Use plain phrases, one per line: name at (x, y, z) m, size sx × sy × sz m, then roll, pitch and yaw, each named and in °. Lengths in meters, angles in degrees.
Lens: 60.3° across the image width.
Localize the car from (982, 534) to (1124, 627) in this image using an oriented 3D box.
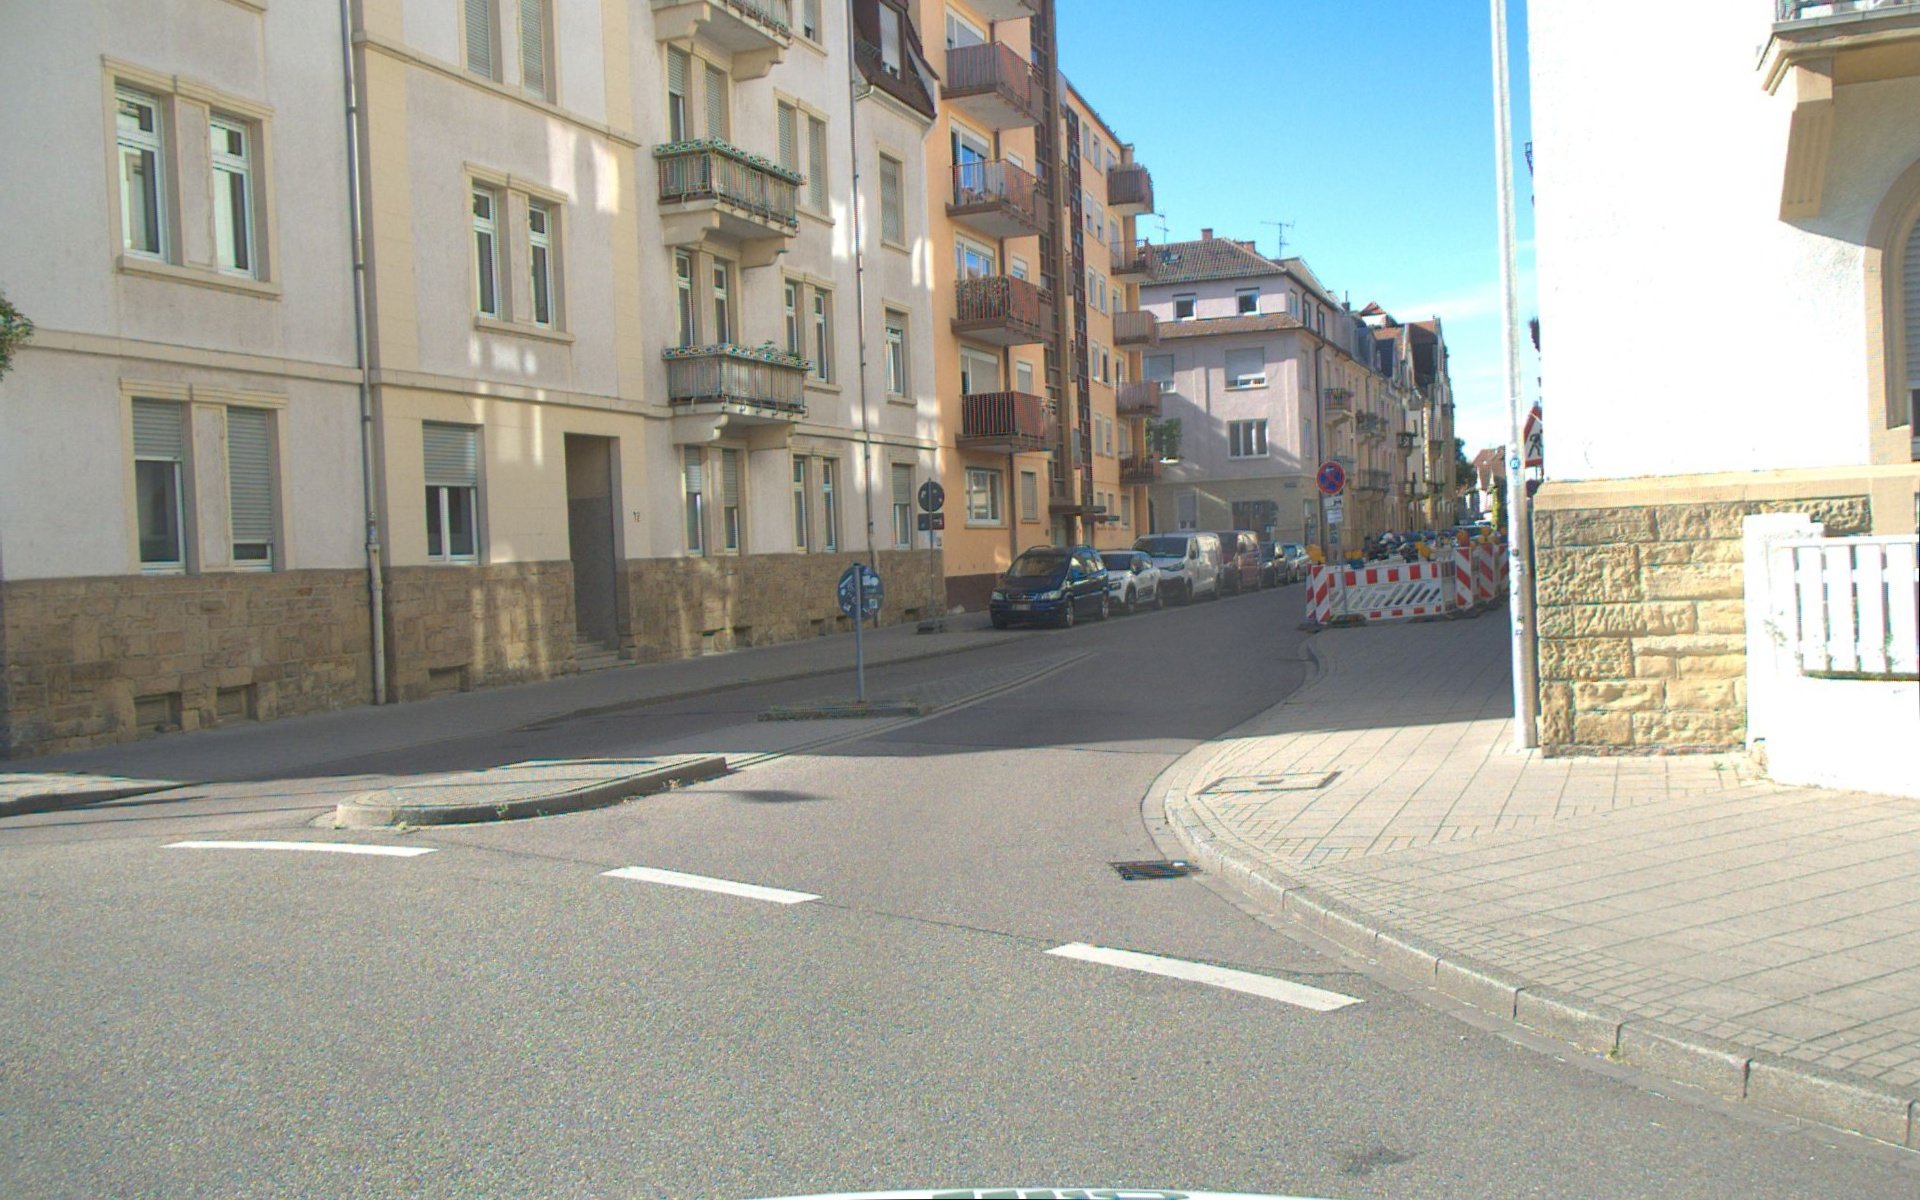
car at (2.069, -0.468, 35.520) m, size 1.726 × 1.801 × 4.295 m, roll -1°, pitch 2°, yaw 22°

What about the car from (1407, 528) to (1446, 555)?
car at (29.244, -3.659, 103.594) m, size 1.962 × 1.647 × 4.488 m, roll 0°, pitch 2°, yaw 21°

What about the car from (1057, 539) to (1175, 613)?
car at (3.883, -0.621, 40.539) m, size 1.726 × 1.649 × 4.296 m, roll -1°, pitch 2°, yaw 22°

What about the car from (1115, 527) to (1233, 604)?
car at (5.978, -1.000, 45.604) m, size 1.935 × 1.958 × 5.310 m, roll -1°, pitch 2°, yaw 22°

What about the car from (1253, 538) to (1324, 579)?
car at (12.263, -1.559, 61.489) m, size 1.727 × 1.401 × 4.478 m, roll -1°, pitch 2°, yaw 23°

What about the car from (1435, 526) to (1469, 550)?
car at (34.584, -4.372, 116.253) m, size 1.962 × 1.647 × 4.488 m, roll 0°, pitch 2°, yaw 21°

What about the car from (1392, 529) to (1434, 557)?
car at (26.510, -3.343, 96.731) m, size 1.962 × 1.609 × 4.488 m, roll 0°, pitch 2°, yaw 21°

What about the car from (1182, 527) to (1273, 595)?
car at (8.346, -1.251, 51.302) m, size 1.726 × 1.958 × 4.936 m, roll -1°, pitch 2°, yaw 22°

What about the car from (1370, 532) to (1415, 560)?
car at (22.787, -2.847, 86.987) m, size 1.646 × 1.451 × 4.273 m, roll 0°, pitch 2°, yaw 24°

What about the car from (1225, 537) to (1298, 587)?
car at (10.335, -1.334, 56.530) m, size 1.726 × 1.528 × 4.002 m, roll -3°, pitch 2°, yaw 21°

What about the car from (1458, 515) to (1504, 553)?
car at (27.194, -3.424, 86.280) m, size 1.962 × 1.947 × 4.488 m, roll 0°, pitch 2°, yaw 22°
